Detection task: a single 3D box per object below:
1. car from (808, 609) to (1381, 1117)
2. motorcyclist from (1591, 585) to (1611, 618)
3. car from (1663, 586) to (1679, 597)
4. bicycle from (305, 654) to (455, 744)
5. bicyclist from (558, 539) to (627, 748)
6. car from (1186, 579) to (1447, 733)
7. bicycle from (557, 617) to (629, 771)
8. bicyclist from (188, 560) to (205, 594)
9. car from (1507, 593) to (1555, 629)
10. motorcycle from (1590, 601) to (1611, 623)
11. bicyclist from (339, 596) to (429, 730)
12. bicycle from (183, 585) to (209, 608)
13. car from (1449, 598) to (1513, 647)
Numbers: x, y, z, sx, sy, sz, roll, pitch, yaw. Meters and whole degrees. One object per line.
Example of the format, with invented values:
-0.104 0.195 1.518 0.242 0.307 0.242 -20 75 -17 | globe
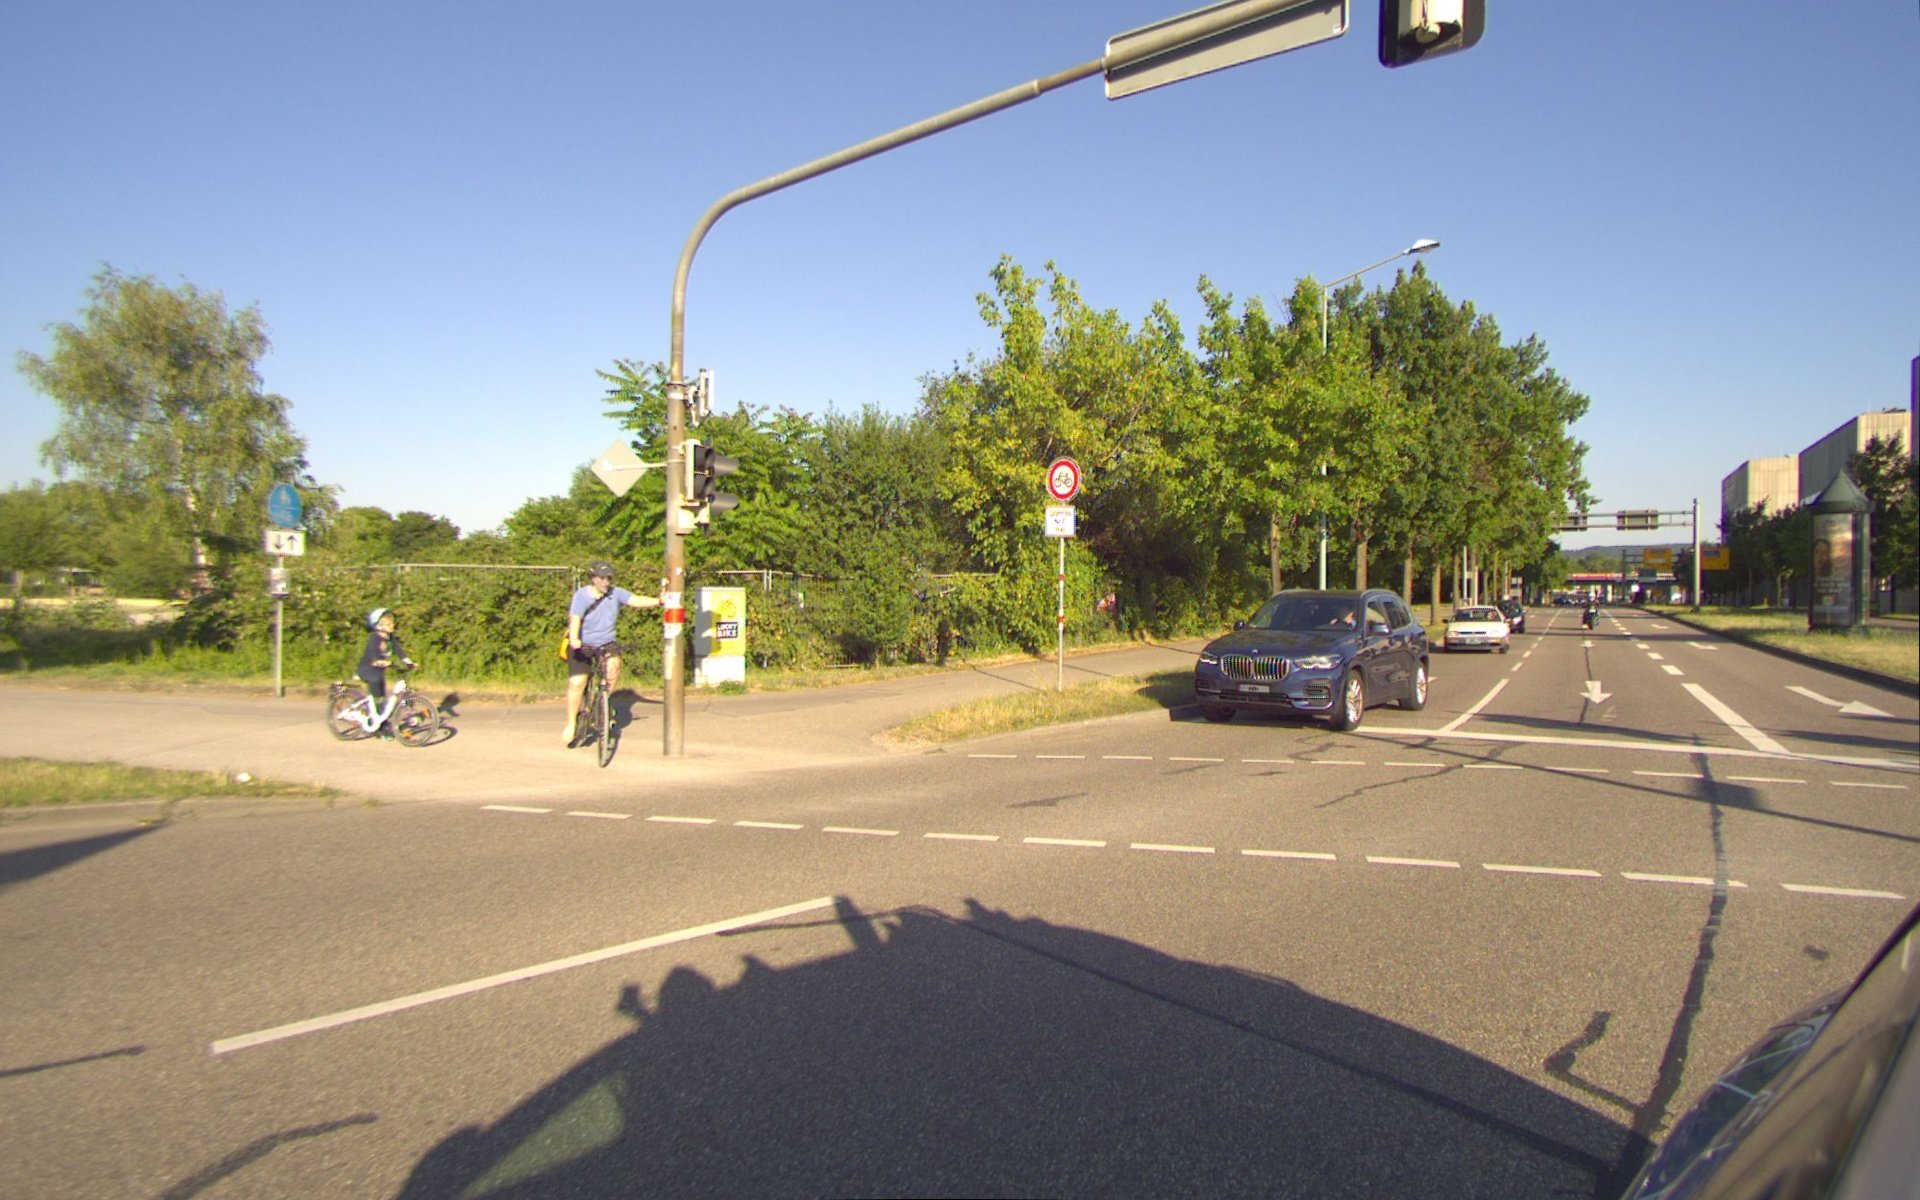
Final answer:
1.080 0.904 5.520 1.595 1.630 3.953 0 0 33 | car
29.582 0.055 46.726 0.729 1.530 0.909 1 0 31 | motorcyclist
105.845 -1.300 150.724 1.554 1.594 3.377 0 1 29 | car
-5.899 0.990 10.299 1.443 0.796 0.438 1 0 16 | bicycle
-3.584 0.384 9.855 0.588 1.922 0.941 1 1 -21 | bicyclist
5.069 0.609 13.967 1.951 1.748 4.633 -1 0 39 | car
-3.607 0.846 9.916 0.596 1.259 1.915 1 2 -21 | bicycle
-34.639 -1.039 45.927 0.500 1.495 0.621 -1 -1 -25 | bicyclist
25.563 0.492 45.263 1.713 1.518 4.167 -1 -1 31 | car
29.552 0.539 46.696 0.743 0.995 2.117 1 1 31 | motorcycle
-5.841 0.617 10.273 0.641 1.311 0.464 1 0 15 | bicyclist
-34.588 -0.160 45.838 0.498 1.034 2.047 -1 0 -24 | bicycle
16.007 0.662 30.993 1.602 1.416 3.996 0 -1 29 | car
